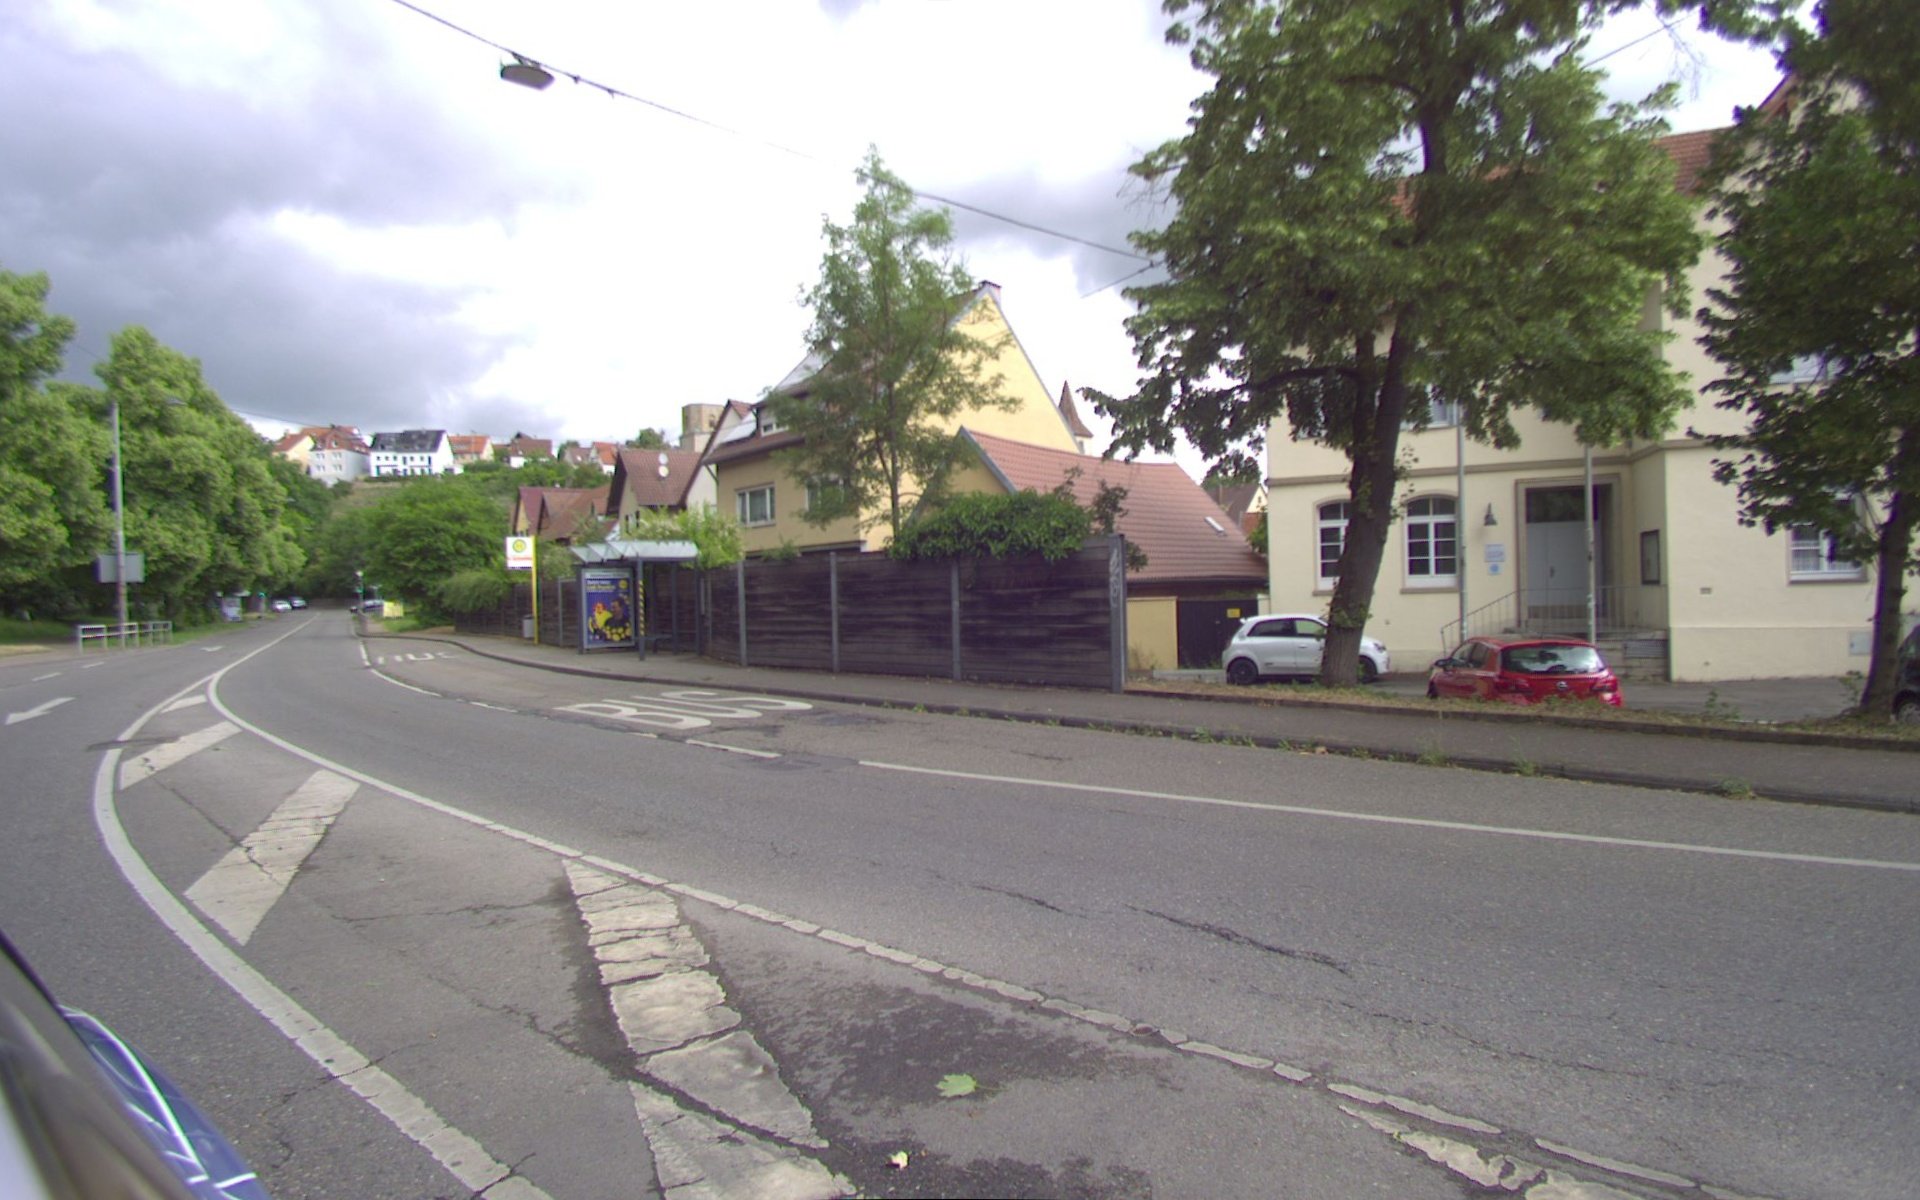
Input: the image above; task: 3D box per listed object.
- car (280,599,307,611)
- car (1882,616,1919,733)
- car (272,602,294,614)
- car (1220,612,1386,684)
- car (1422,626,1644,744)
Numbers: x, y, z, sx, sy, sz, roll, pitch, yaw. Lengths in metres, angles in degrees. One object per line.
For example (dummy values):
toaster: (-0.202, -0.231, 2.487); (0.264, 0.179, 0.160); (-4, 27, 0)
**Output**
car: (-93.827, 0.758, 142.491); (3.993, 1.630, 1.975); (-1, 0, 37)
car: (12.637, 0.931, 11.310); (1.626, 1.450, 3.567); (-1, 0, 7)
car: (-91.465, 1.073, 136.724); (3.683, 1.536, 1.740); (-1, 0, 43)
car: (7.723, 1.053, 22.891); (3.411, 1.490, 1.600); (-1, 0, 21)
car: (8.206, 1.143, 14.872); (1.644, 1.393, 3.708); (-1, 0, 10)
